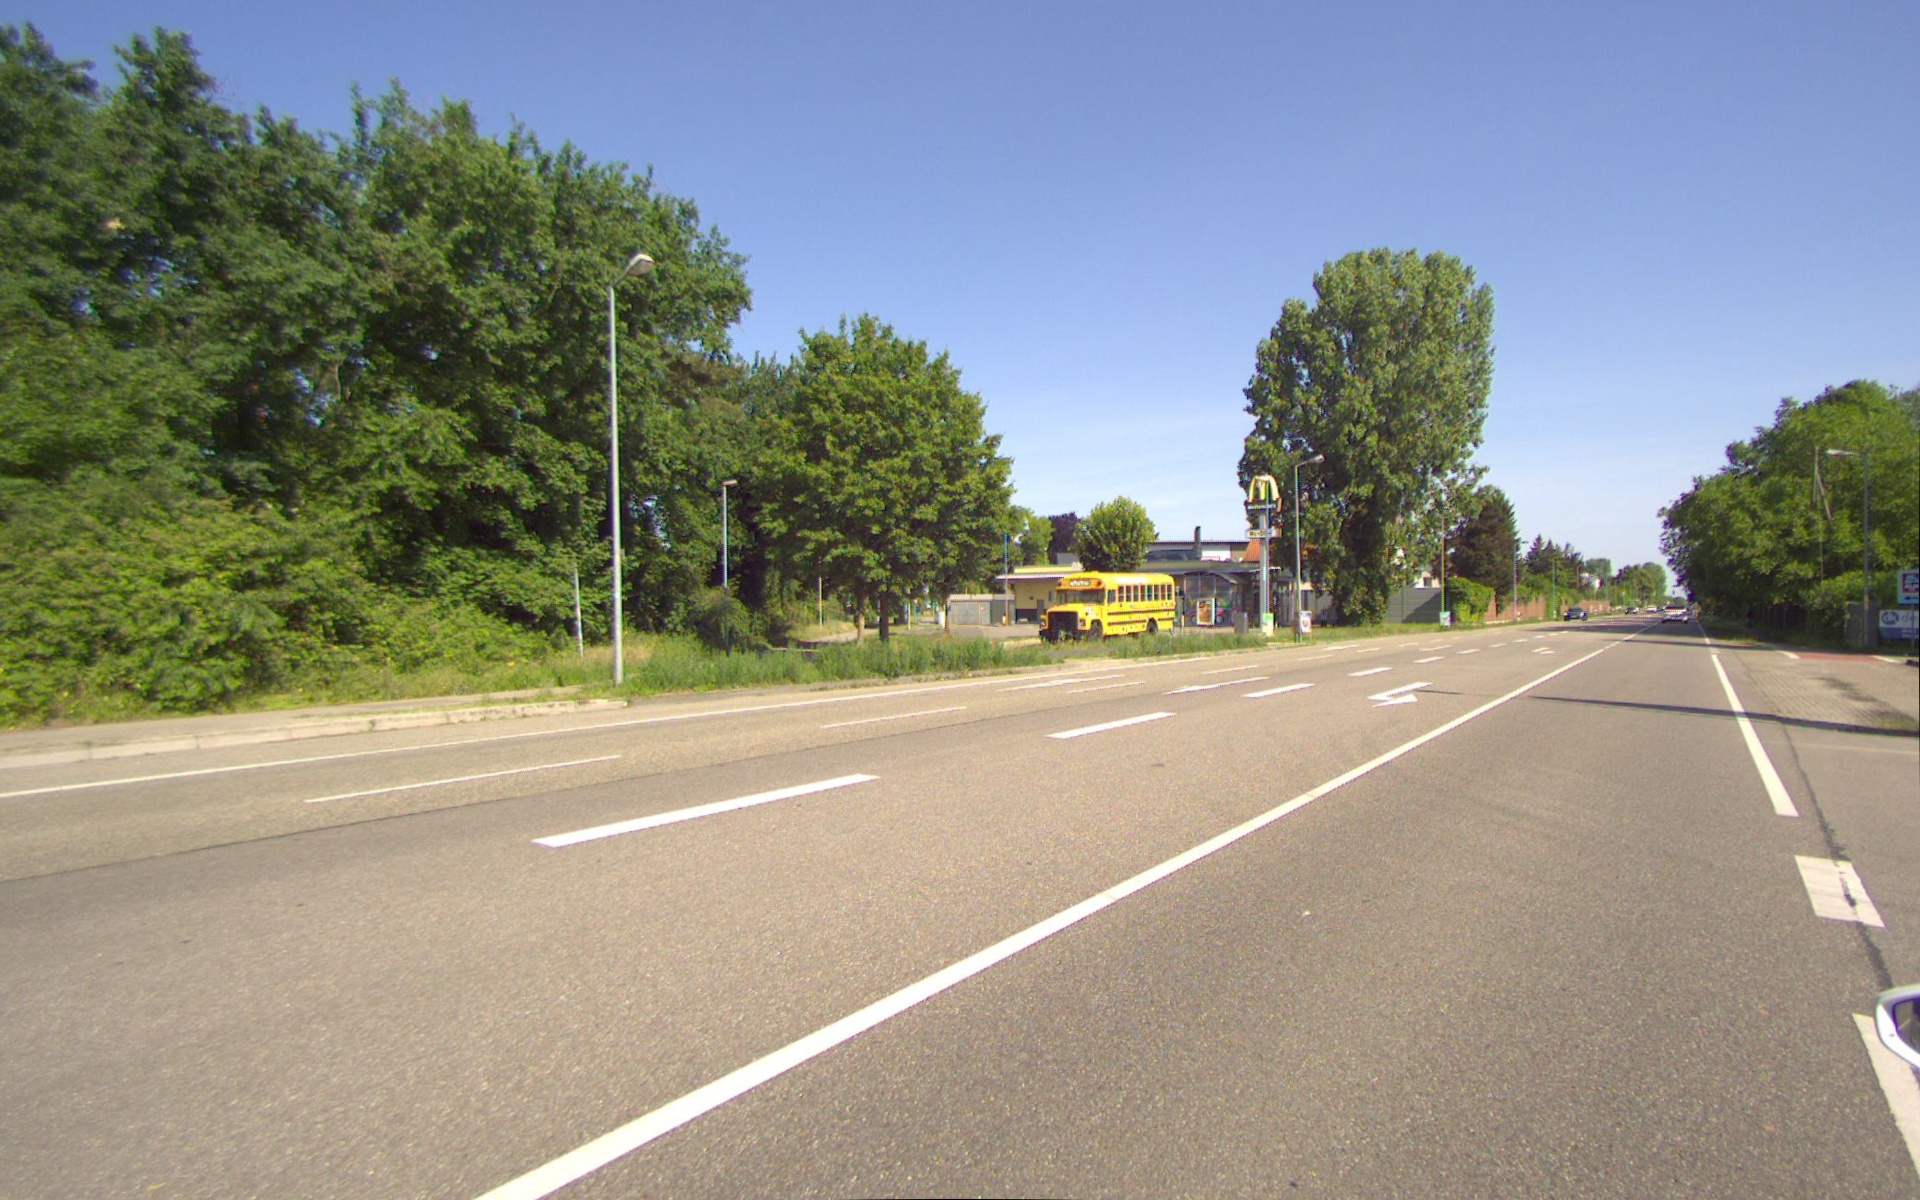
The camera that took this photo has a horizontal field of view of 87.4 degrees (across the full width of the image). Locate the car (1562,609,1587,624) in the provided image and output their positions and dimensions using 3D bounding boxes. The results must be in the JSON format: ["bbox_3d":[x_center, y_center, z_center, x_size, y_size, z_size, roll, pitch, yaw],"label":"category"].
[{"bbox_3d":[67.663,1.811,110.540,1.823,1.515,4.893,-3,-2,37],"label":"car"}]

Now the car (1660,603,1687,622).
[{"bbox_3d":[61.978,1.084,87.213,1.823,1.561,4.209,2,0,37],"label":"car"}]

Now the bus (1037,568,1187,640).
[{"bbox_3d":[6.608,0.179,42.226,2.544,2.715,8.968,2,0,35],"label":"bus"}]
